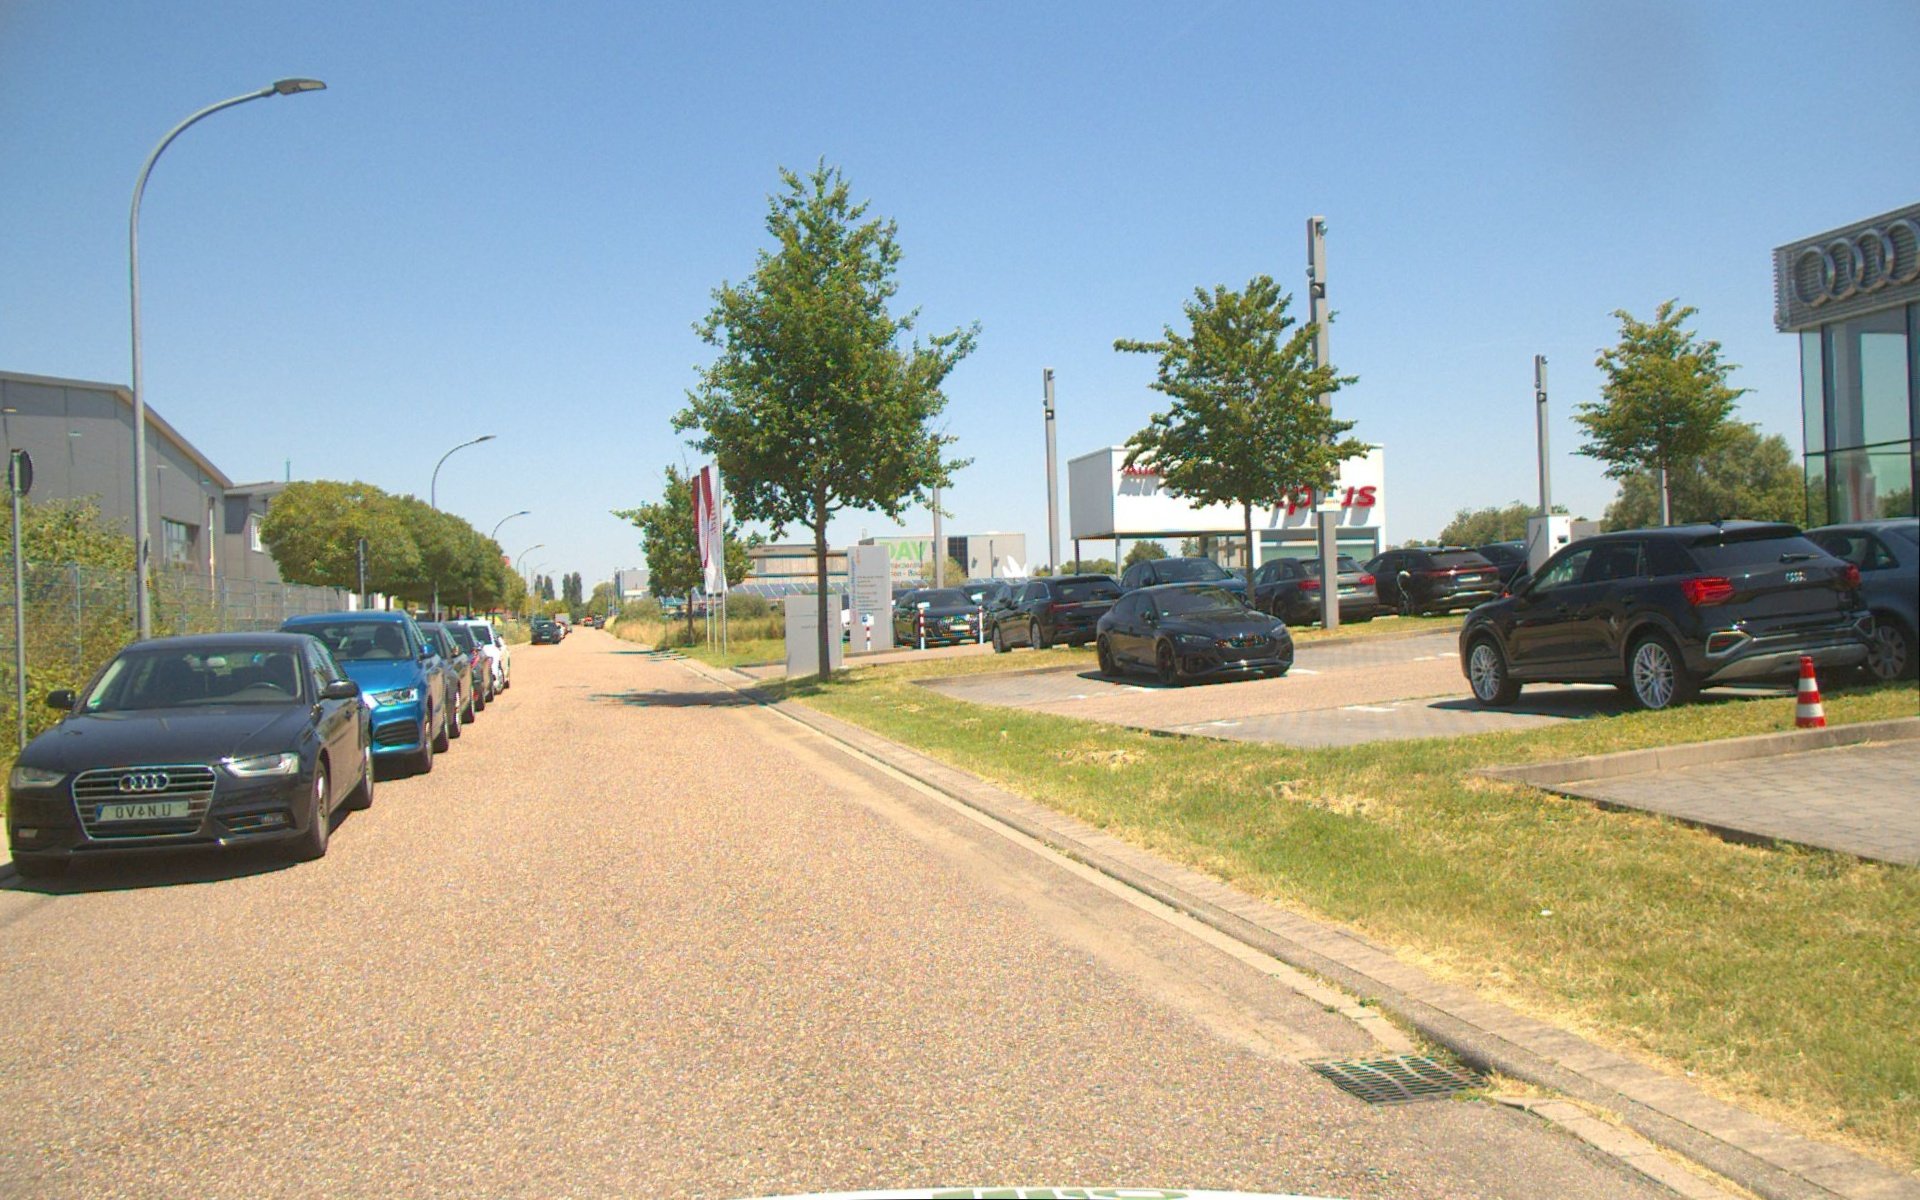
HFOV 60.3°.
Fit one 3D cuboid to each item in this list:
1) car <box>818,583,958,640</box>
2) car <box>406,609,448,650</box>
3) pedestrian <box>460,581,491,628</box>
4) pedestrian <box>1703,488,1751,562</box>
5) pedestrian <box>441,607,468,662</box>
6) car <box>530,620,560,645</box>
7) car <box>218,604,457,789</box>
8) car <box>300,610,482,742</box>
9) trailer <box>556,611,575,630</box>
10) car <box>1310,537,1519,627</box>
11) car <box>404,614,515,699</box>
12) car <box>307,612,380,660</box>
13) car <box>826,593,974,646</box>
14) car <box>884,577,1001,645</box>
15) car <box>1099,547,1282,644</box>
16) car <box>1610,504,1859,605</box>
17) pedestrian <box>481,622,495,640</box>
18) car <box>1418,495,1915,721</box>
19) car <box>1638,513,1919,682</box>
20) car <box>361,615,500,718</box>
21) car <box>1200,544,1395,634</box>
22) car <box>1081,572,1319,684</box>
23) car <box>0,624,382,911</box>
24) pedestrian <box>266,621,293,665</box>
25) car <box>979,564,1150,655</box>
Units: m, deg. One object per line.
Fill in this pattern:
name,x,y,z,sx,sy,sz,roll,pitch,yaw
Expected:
car,-2.493,0.394,56.913,4.454,1.722,2.023,-3,-1,-16
car,-28.275,1.550,87.866,1.807,2.054,5.104,1,-1,-15
pedestrian,-20.589,0.193,70.268,0.823,2.007,0.964,0,-1,27
pedestrian,19.483,-1.895,42.018,0.756,1.807,0.743,-2,-1,-9
pedestrian,-17.187,1.173,56.259,0.731,1.833,1.131,1,-1,-11
car,-28.342,2.181,112.878,1.894,1.595,4.174,-2,0,-14
car,-6.316,0.897,17.224,1.794,1.598,4.370,-2,0,-14
car,-7.555,0.943,22.345,1.793,1.526,4.505,-2,0,-13
trailer,-48.709,2.549,204.182,2.163,2.175,4.270,-2,-1,-13
car,9.158,-0.308,33.854,1.928,1.482,4.968,-3,-2,-13
car,-9.983,1.081,33.247,1.793,1.526,4.244,-2,0,-13
car,-21.172,1.223,56.931,1.735,1.601,4.525,0,-1,-13
car,-1.981,0.632,54.256,4.455,1.482,2.023,-3,0,-16
car,-0.541,0.312,44.078,1.990,1.540,5.222,-4,0,-13
car,4.522,-0.025,33.331,1.928,1.626,4.968,-3,-2,-13
car,15.845,-0.875,34.182,1.928,1.649,4.968,-3,-2,-13
pedestrian,-29.885,1.986,104.671,0.736,1.118,0.645,2,-2,-9
car,6.068,0.076,14.835,1.856,1.598,4.211,-5,0,-14
car,8.470,-0.077,15.251,1.929,1.390,4.211,-5,0,-14
car,-8.829,1.049,27.912,1.793,1.526,4.505,-2,0,-13
car,6.718,-0.165,33.578,1.928,1.482,4.968,-3,-2,-13
car,3.498,0.366,25.120,1.928,1.390,4.704,-5,1,-13
car,-5.112,0.937,11.225,1.794,1.480,4.563,-2,0,-14
pedestrian,-27.123,1.709,65.925,0.826,1.743,0.961,0,-1,-14
car,1.938,0.245,32.405,1.928,1.482,4.968,-3,-2,-13
